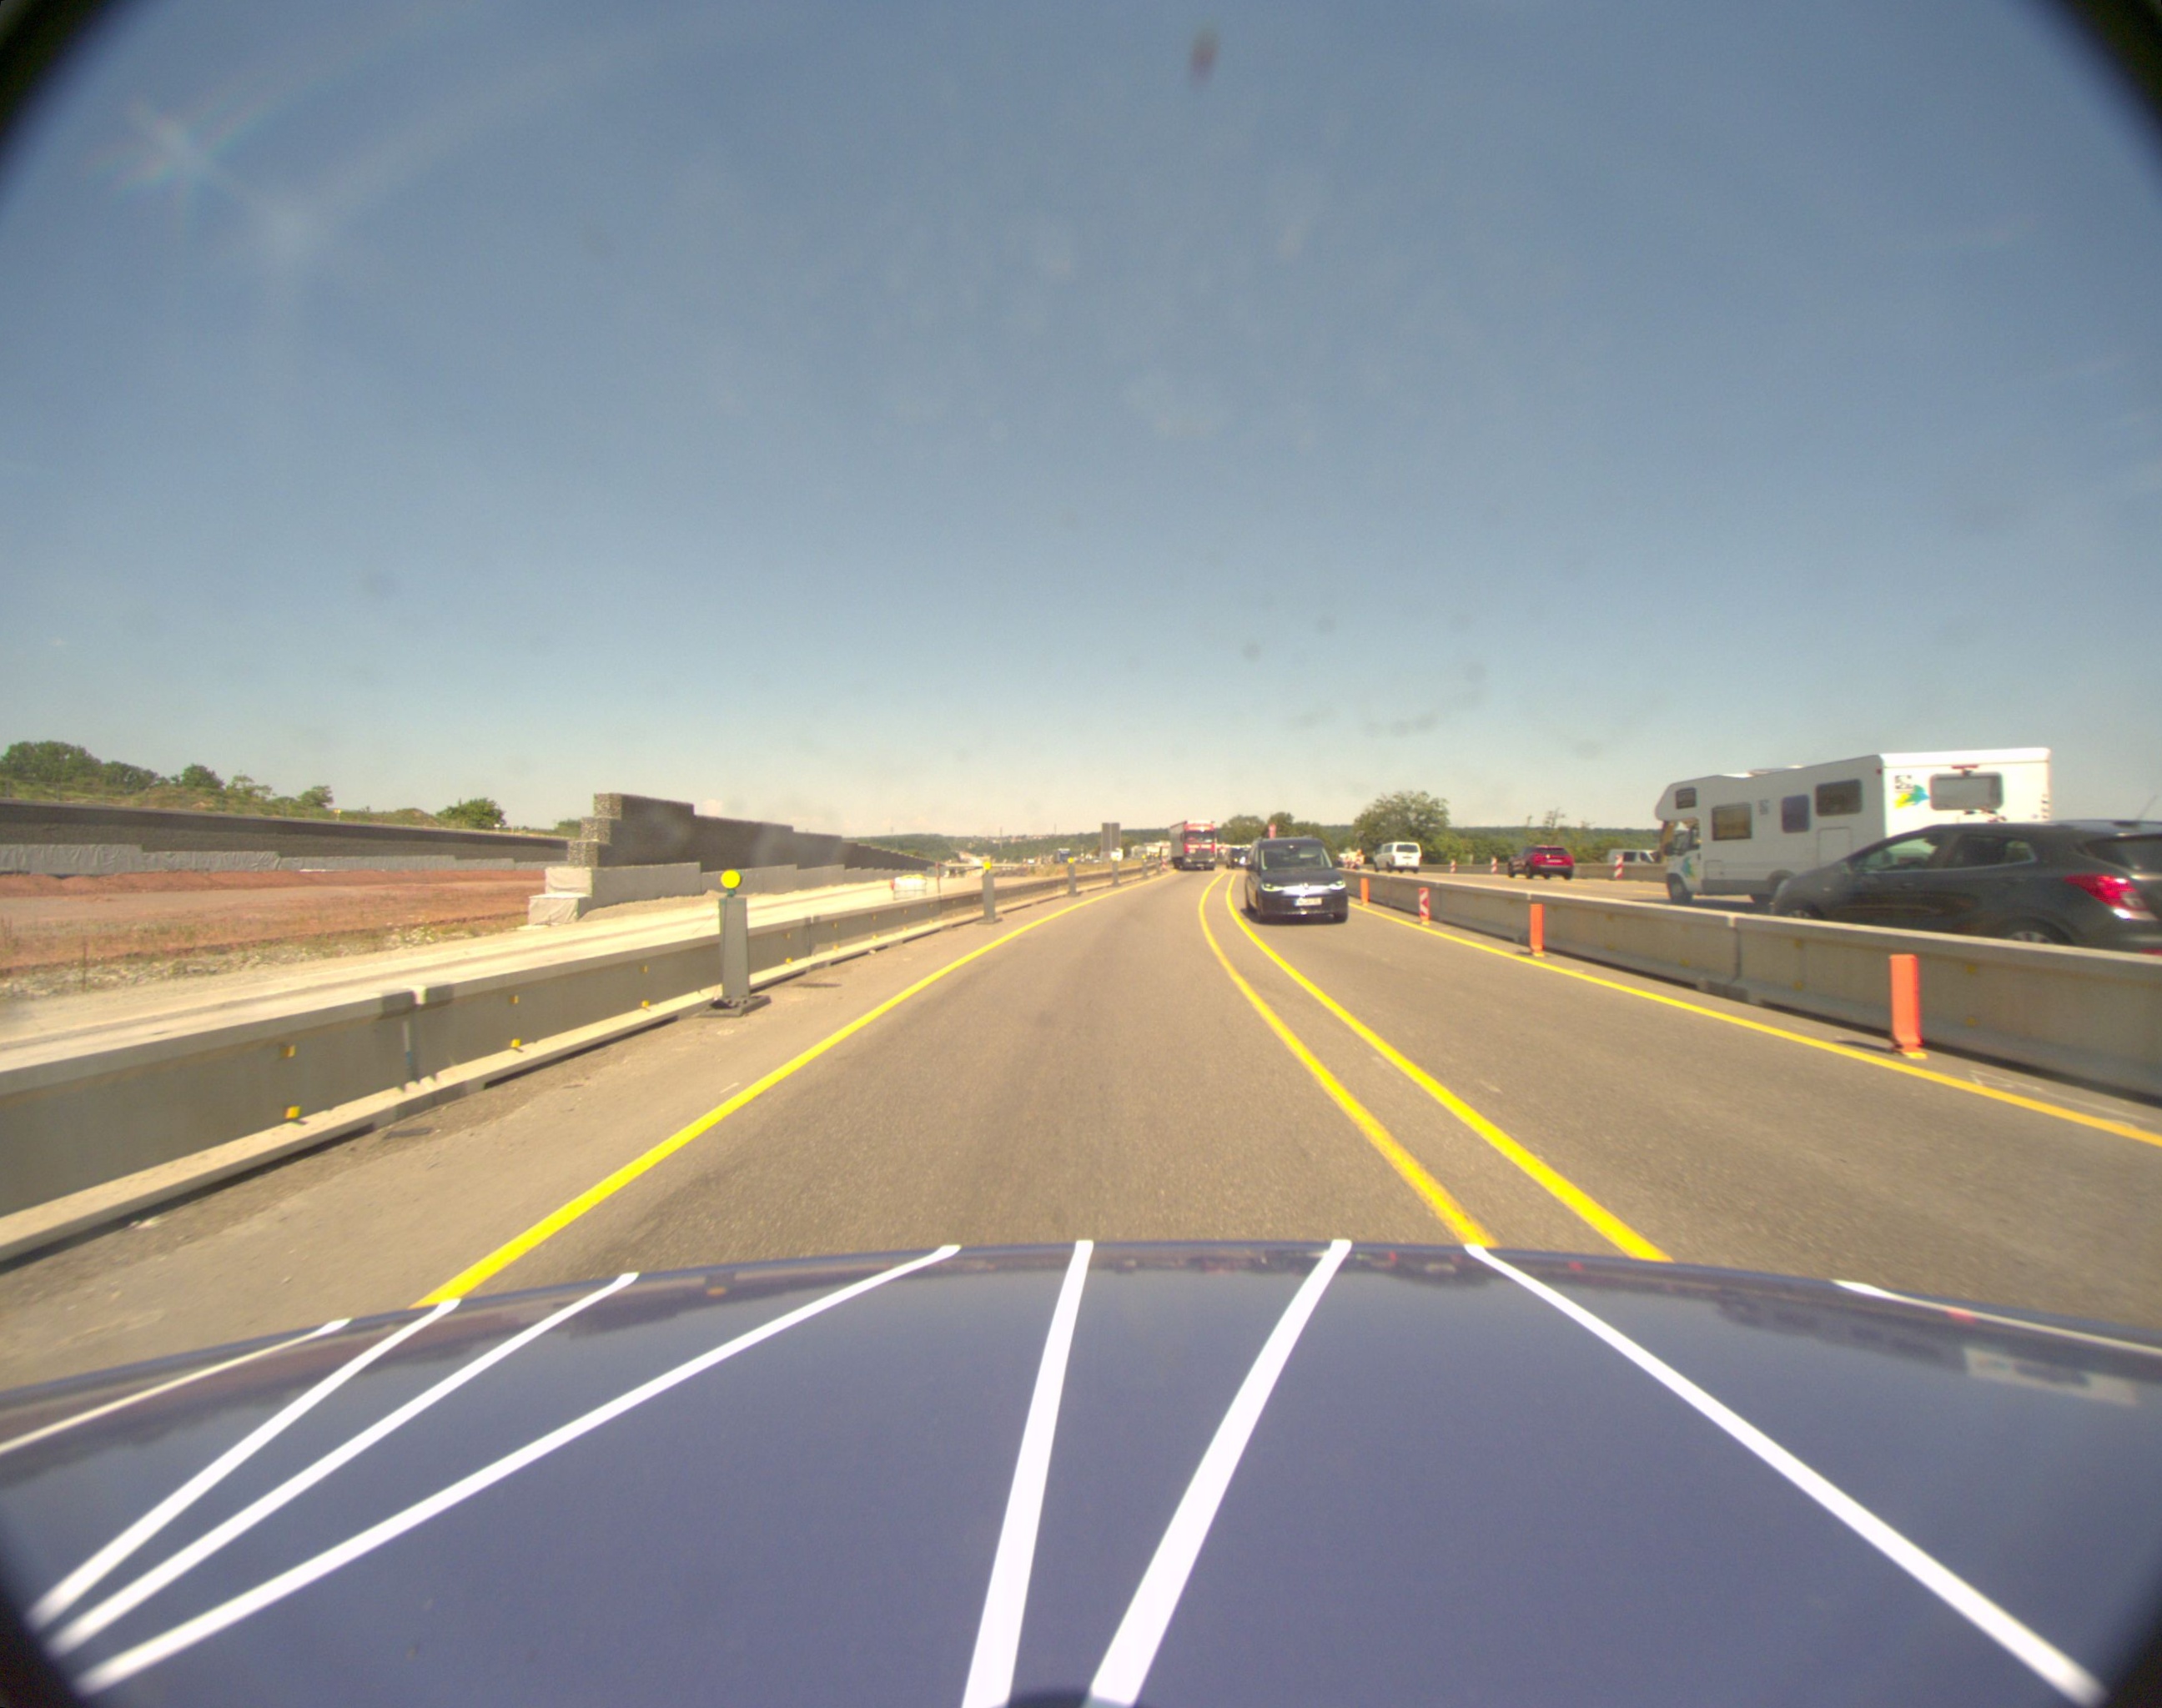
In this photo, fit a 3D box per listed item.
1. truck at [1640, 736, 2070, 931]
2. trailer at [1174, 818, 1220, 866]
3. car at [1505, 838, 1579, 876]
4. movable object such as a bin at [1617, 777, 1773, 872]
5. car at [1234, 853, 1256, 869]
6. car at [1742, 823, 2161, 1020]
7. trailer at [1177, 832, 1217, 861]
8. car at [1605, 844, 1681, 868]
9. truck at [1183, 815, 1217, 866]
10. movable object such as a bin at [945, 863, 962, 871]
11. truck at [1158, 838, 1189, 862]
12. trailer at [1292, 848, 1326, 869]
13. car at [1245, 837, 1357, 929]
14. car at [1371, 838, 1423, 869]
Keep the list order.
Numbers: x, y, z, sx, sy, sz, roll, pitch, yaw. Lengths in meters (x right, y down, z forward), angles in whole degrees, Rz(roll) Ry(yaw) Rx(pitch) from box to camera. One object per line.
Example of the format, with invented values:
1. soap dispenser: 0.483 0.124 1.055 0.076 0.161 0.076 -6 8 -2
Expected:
1. truck: 14.906 -0.326 15.688 2.445 3.053 7.253 0 0 10
2. trailer: 10.103 -0.981 67.419 2.701 3.852 12.425 0 0 3
3. car: 21.284 0.130 35.284 1.722 1.618 4.341 0 0 14
4. movable object such as a bin: 31.407 -1.354 39.465 2.927 4.304 9.338 0 0 16
5. car: 13.837 0.560 64.212 1.713 1.254 4.003 0 0 11
6. car: 9.771 0.539 8.259 1.663 1.596 4.398 0 0 6
7. trailer: 17.071 -1.030 112.919 2.595 4.128 13.056 0 0 -7
8. car: 42.594 0.145 57.766 1.725 1.703 4.881 0 0 -8
9. truck: 9.544 -1.034 60.878 2.625 3.880 4.937 0 0 9
10. movable object such as a bin: -32.955 3.396 196.481 4.141 2.135 1.758 0 0 -35
11. truck: 13.317 -0.583 109.925 2.588 3.361 6.921 0 0 -10
12. trailer: 22.180 0.405 73.975 1.871 2.010 4.435 0 0 -1
13. car: 4.796 0.564 17.173 1.924 1.779 4.606 -1 0 10
14. car: 21.021 -0.040 50.780 1.869 1.942 4.894 0 0 6
